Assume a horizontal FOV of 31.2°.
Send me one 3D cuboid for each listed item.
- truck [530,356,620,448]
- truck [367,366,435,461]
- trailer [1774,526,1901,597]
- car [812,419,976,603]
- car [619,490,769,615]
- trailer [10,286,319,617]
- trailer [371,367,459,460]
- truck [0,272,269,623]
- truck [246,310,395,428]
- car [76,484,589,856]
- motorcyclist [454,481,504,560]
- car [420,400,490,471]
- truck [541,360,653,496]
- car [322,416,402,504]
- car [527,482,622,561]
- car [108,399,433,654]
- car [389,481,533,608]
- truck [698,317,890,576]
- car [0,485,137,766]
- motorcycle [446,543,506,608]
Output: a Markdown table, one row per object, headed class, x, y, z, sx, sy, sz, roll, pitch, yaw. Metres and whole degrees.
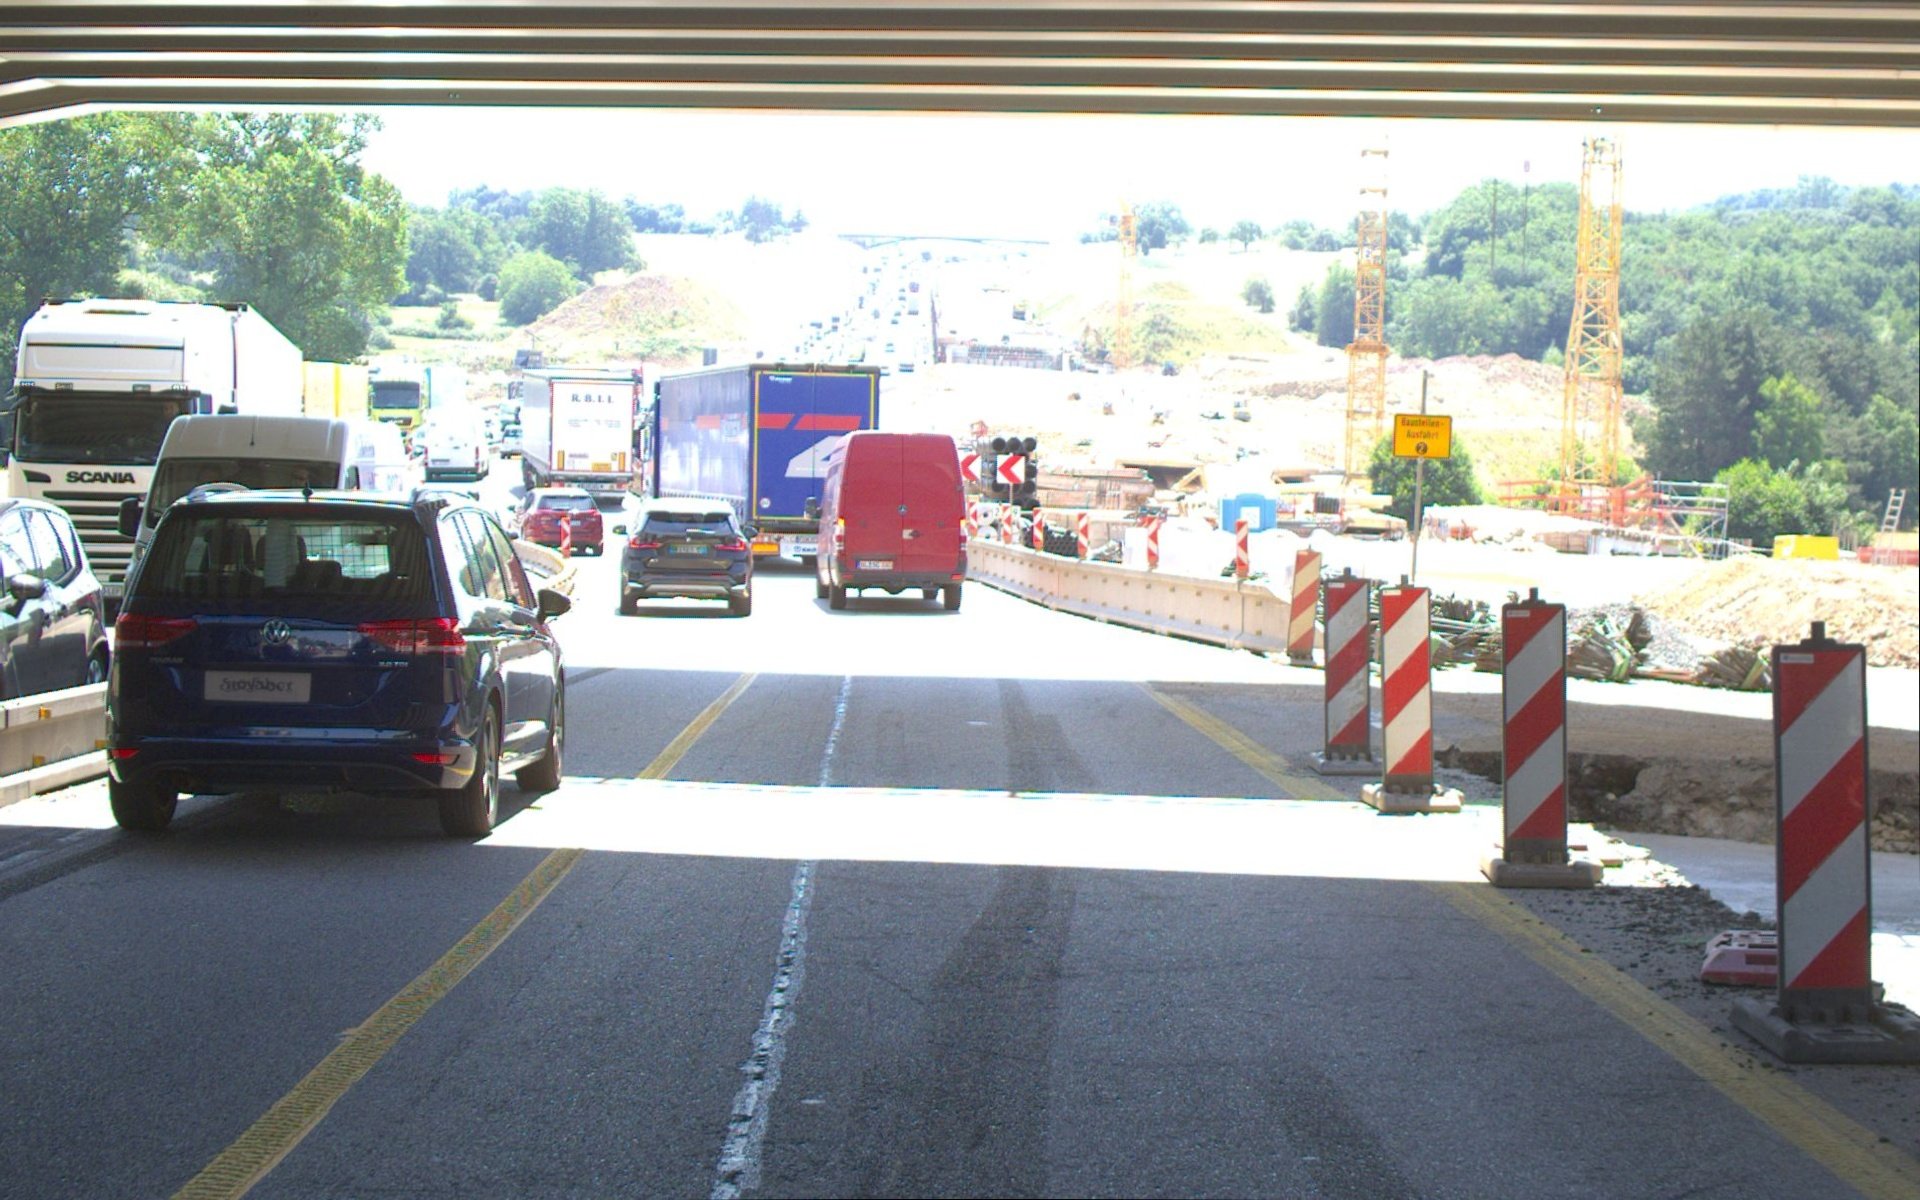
| class | x | y | z | sx | sy | sz | roll | pitch | yaw |
| --- | --- | --- | --- | --- | --- | --- | --- | --- | --- |
| truck | -16.471 | -8.387 | 146.620 | 3.218 | 3.349 | 8.943 | 1 | 0 | -10 |
| truck | -26.222 | -8.747 | 161.510 | 2.625 | 4.255 | 4.733 | 2 | 3 | -5 |
| trailer | 20.011 | -0.902 | 78.533 | 1.623 | 1.481 | 3.827 | 2 | 2 | -4 |
| car | -1.070 | -1.292 | 52.352 | 2.149 | 2.602 | 5.439 | 1 | 0 | -4 |
| car | -3.733 | -0.718 | 48.893 | 1.833 | 1.629 | 4.390 | 1 | 2 | -1 |
| trailer | -11.338 | -2.112 | 50.395 | 2.876 | 4.026 | 14.362 | 2 | 2 | -8 |
| trailer | -26.559 | -9.090 | 168.045 | 2.647 | 4.277 | 13.312 | 2 | 3 | -3 |
| truck | -10.443 | -1.884 | 43.182 | 2.873 | 4.037 | 4.886 | 2 | 2 | -6 |
| truck | -25.166 | -9.036 | 136.121 | 2.807 | 4.327 | 15.377 | 2 | 3 | 1 |
| car | -3.037 | 0.263 | 17.527 | 1.734 | 1.630 | 4.390 | 1 | 1 | 1 |
| motorcyclist | -8.791 | -1.450 | 62.905 | 0.810 | 1.411 | 0.743 | 1 | 0 | -2 |
| car | -17.912 | -5.869 | 122.153 | 2.264 | 2.346 | 5.162 | 1 | 4 | -7 |
| truck | -11.203 | -5.339 | 105.610 | 3.181 | 3.975 | 6.744 | 1 | 3 | -8 |
| car | -17.984 | -4.160 | 103.239 | 2.070 | 2.495 | 6.486 | 1 | 1 | -12 |
| car | -8.627 | -1.766 | 76.649 | 1.833 | 1.629 | 4.107 | 1 | 3 | -10 |
| car | -6.838 | -0.739 | 34.799 | 1.980 | 2.322 | 6.058 | 1 | 1 | 1 |
| car | -6.962 | -0.820 | 48.266 | 1.746 | 1.665 | 4.080 | 1 | 2 | -5 |
| truck | -3.441 | -3.154 | 69.345 | 2.944 | 4.928 | 6.744 | 1 | 3 | -10 |
| car | -6.342 | 0.112 | 20.672 | 1.748 | 1.604 | 4.141 | 1 | 1 | 0 |
| motorcycle | -8.807 | -0.457 | 62.656 | 0.832 | 1.146 | 2.791 | 1 | 1 | -3 |
